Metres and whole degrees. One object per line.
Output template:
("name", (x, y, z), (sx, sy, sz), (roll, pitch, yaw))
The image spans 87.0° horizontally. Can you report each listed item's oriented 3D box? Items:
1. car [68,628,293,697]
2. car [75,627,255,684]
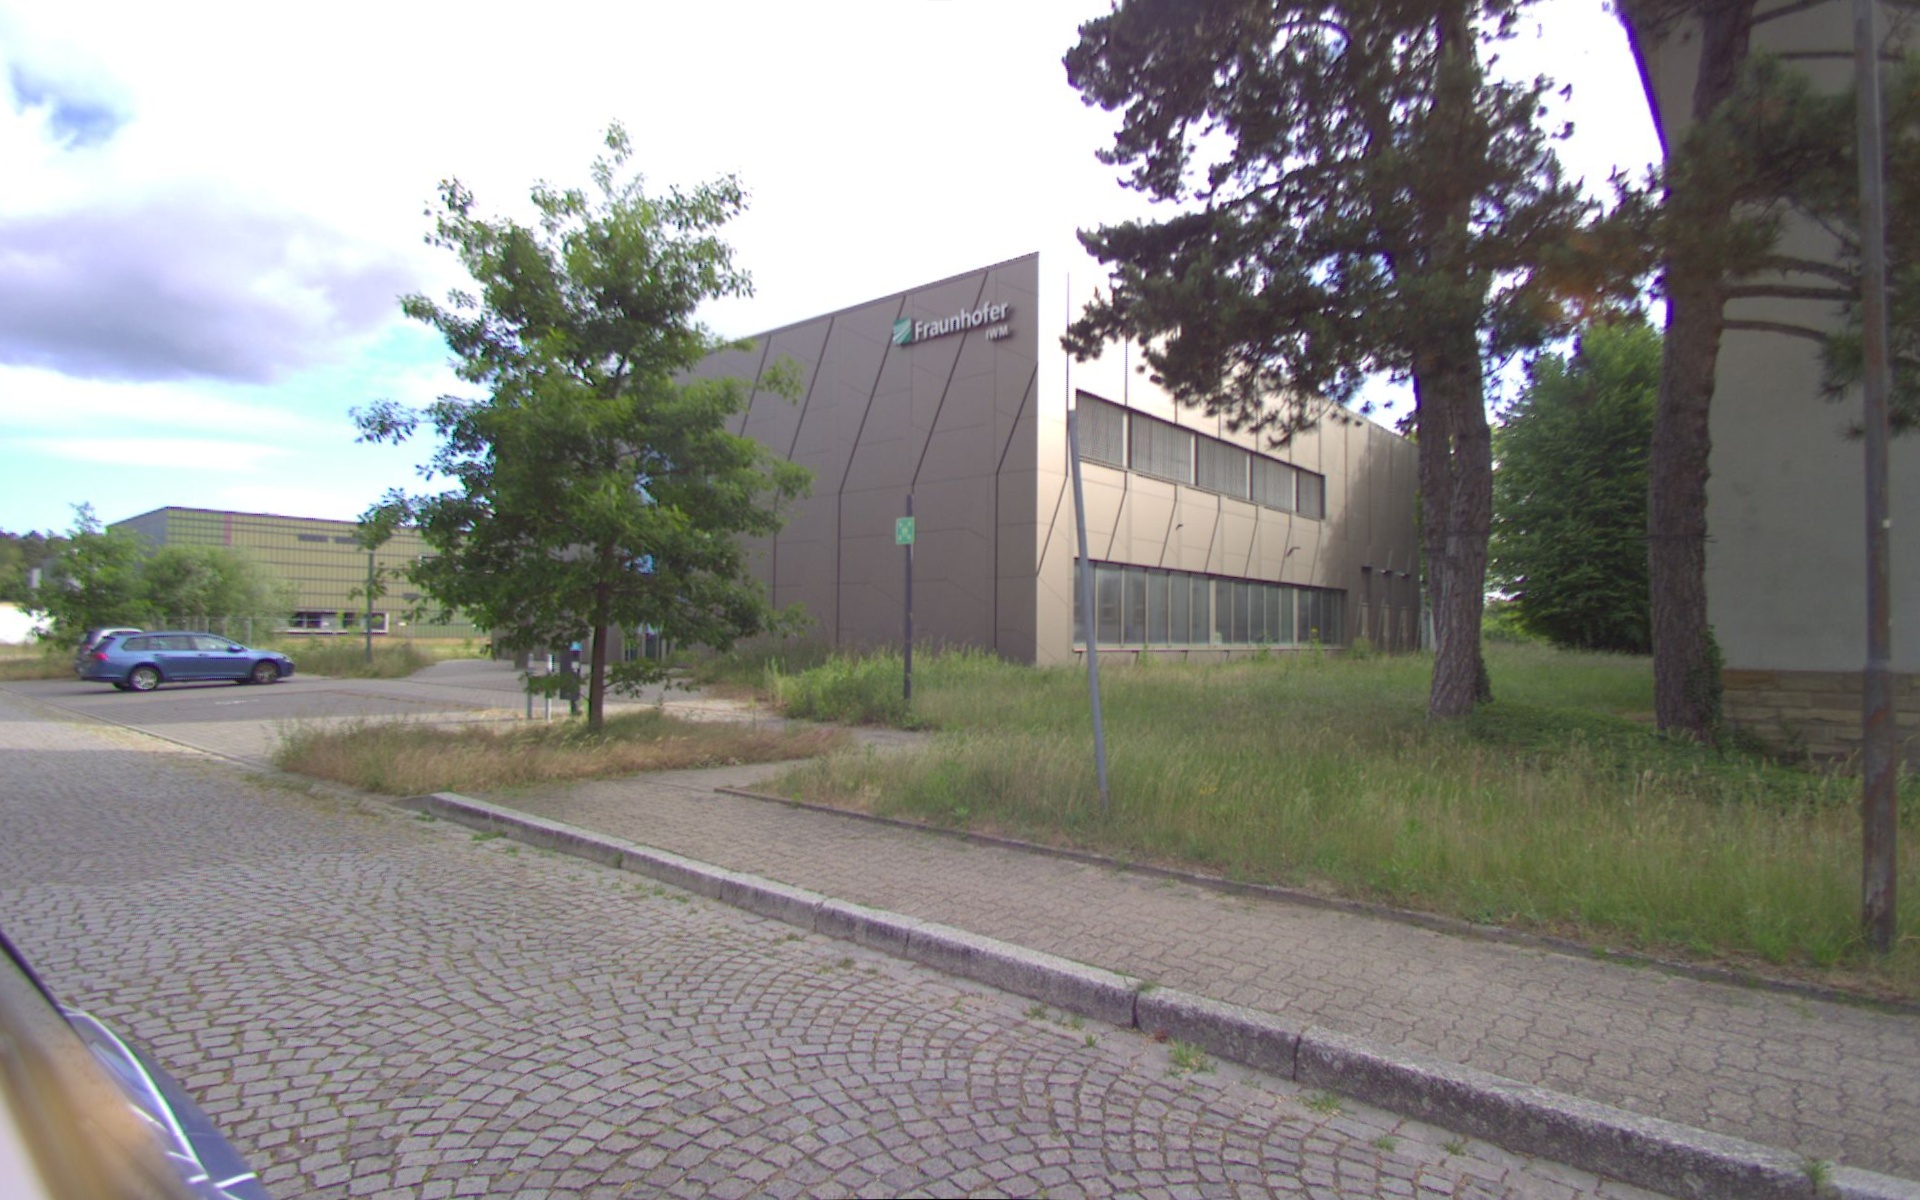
("car", (-20.177, 1.552, 26.371), (1.714, 1.522, 4.351), (-1, 0, 37))
("car", (-25.016, 1.699, 31.932), (4.340, 1.557, 1.843), (-1, -1, -43))
